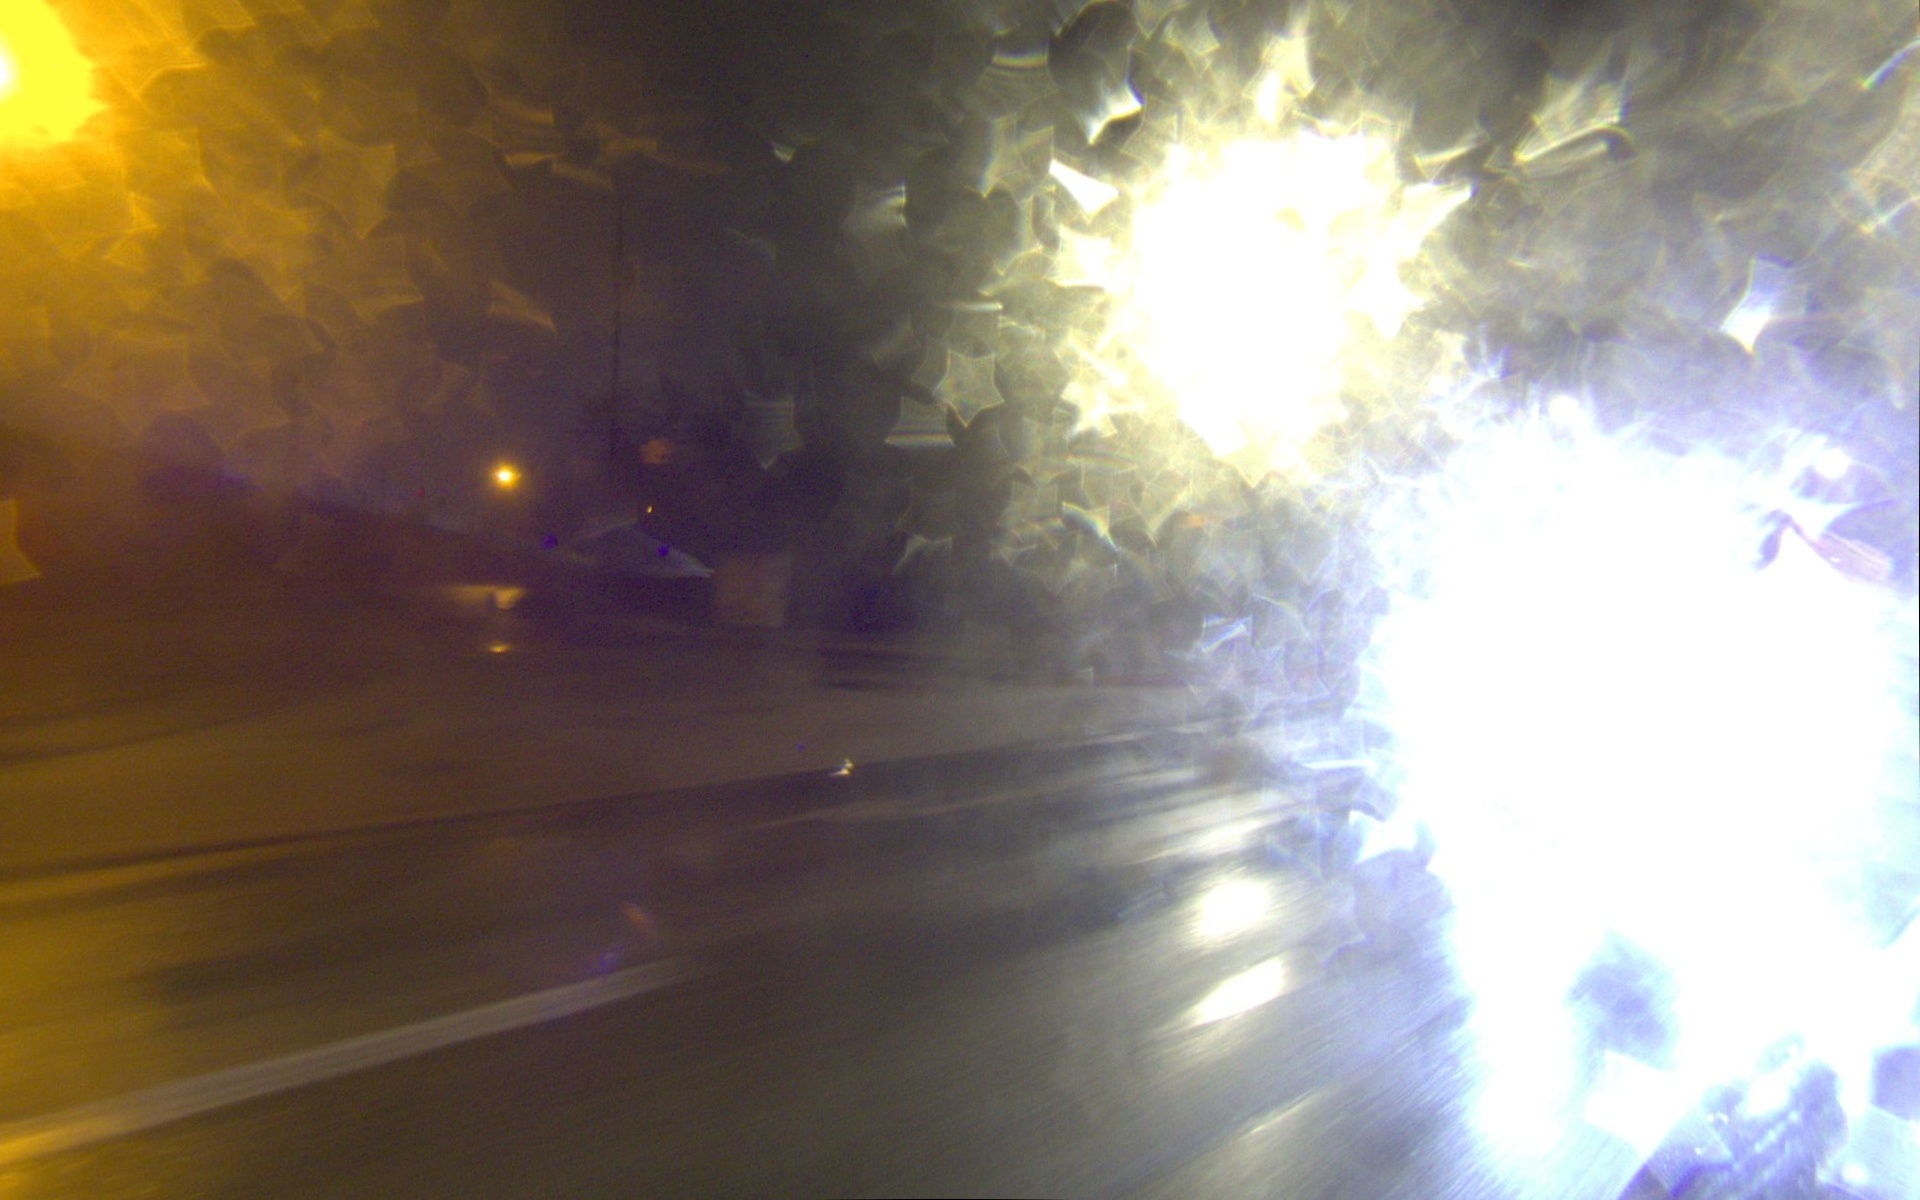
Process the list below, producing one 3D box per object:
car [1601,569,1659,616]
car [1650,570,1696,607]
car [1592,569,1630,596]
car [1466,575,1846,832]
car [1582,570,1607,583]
[{"bbox_3d":[29.031,-0.366,43.931,1.923,1.895,3.956,1,2,32],"label":"car"},{"bbox_3d":[42.651,-0.683,60.507,1.990,1.957,3.947,6,3,36],"label":"car"},{"bbox_3d":[53.564,-1.453,83.323,1.980,1.957,3.966,5,3,25],"label":"car"},{"bbox_3d":[5.792,0.605,8.214,1.993,1.543,3.938,0,0,43],"label":"car"},{"bbox_3d":[73.023,-2.706,116.465,1.750,1.475,3.926,0,2,21],"label":"car"}]
